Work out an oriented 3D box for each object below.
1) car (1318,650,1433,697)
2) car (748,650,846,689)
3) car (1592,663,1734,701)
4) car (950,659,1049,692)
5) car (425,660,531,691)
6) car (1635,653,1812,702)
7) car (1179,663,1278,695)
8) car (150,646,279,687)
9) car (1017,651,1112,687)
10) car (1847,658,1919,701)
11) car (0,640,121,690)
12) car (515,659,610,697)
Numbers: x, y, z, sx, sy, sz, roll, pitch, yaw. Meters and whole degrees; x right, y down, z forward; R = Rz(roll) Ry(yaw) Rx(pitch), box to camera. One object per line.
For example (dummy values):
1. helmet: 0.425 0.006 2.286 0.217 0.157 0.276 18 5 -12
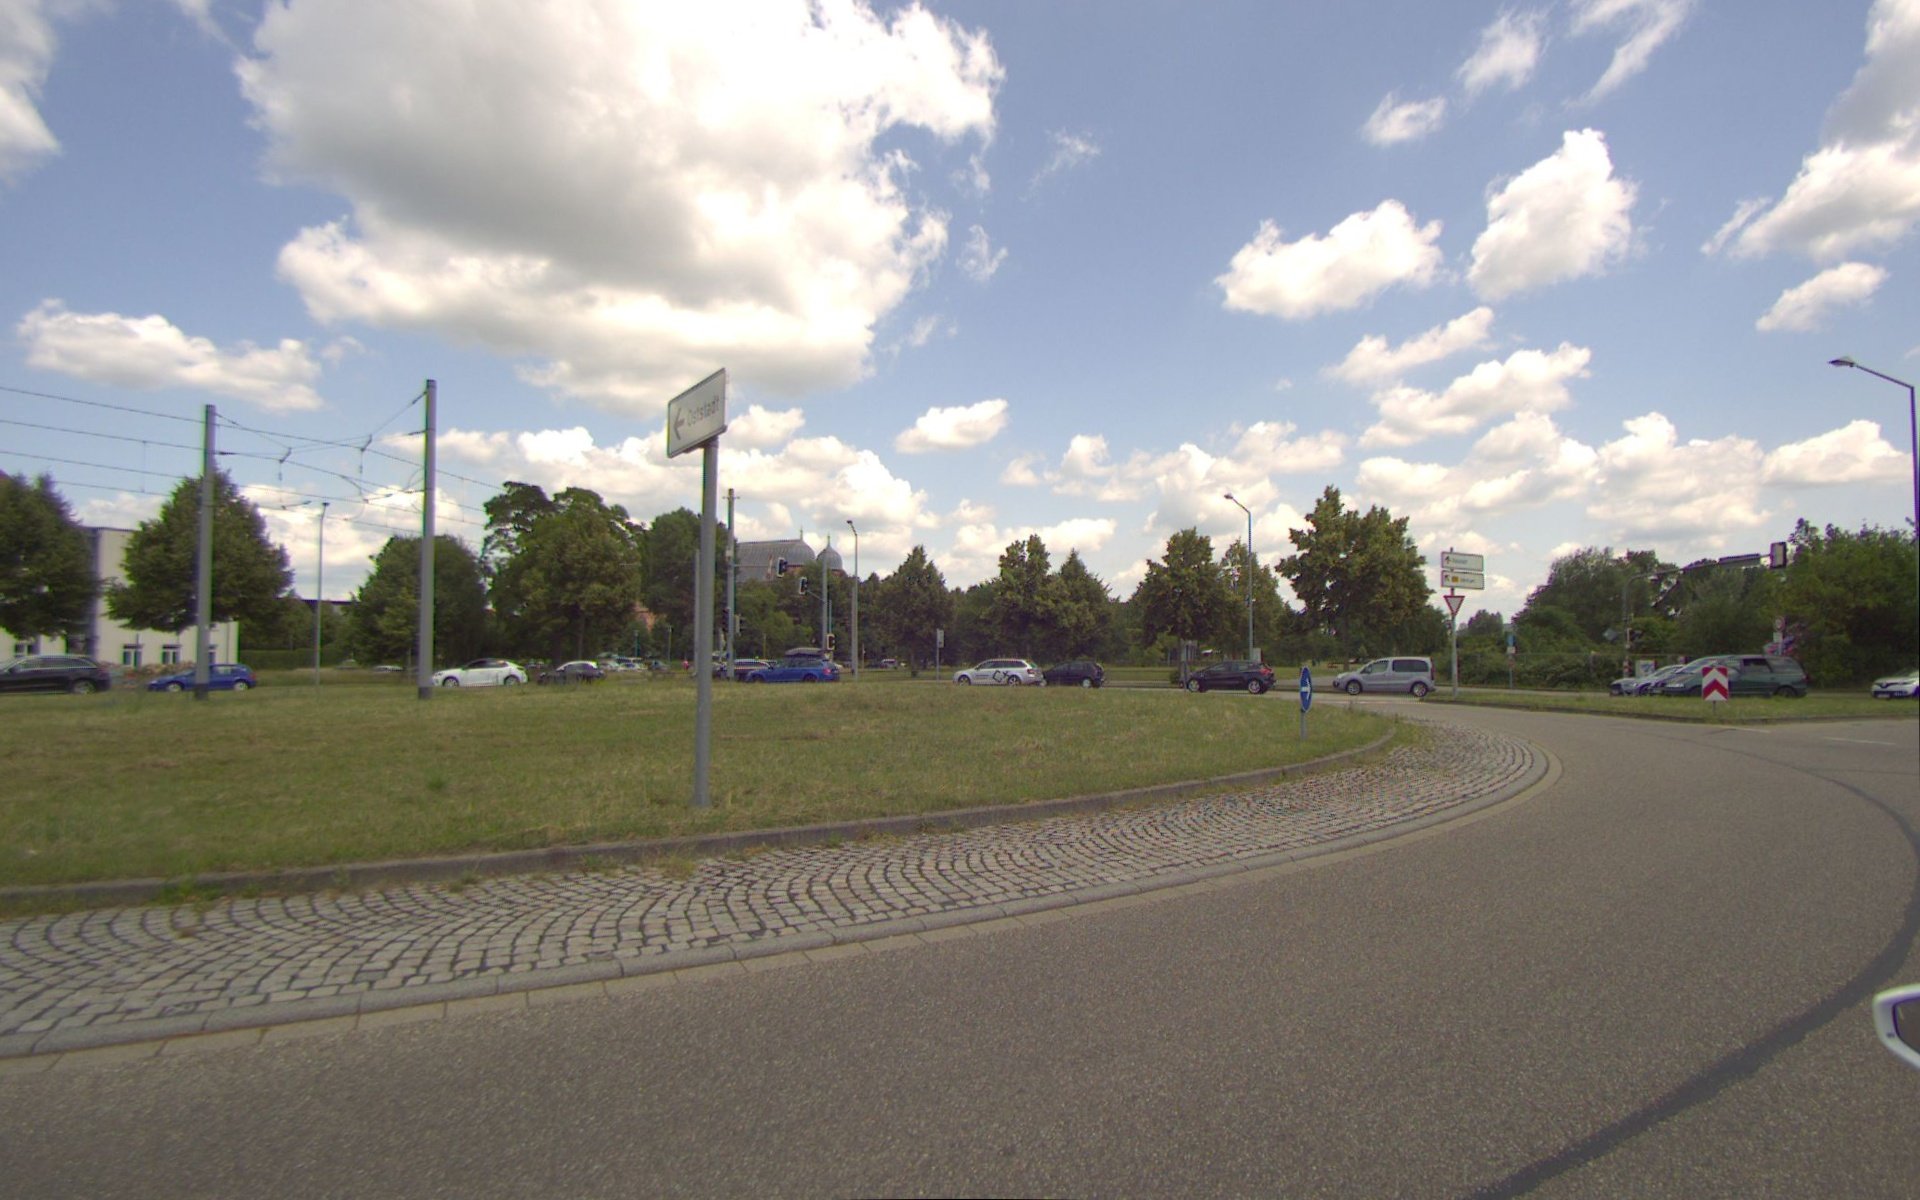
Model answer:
1. car: 18.880 3.301 45.756 4.696 2.040 1.999 -1 -3 24
2. car: -7.836 3.314 48.351 4.318 1.822 1.758 -1 -3 9
3. car: 27.322 3.171 39.126 4.107 1.441 1.913 0 -3 4
4. car: 1.943 3.711 49.505 4.422 1.541 2.123 -2 -3 24
5. car: -22.241 3.469 46.523 4.246 1.347 1.991 1 -3 -21
6. car: 26.317 2.658 34.754 4.499 1.613 1.916 0 -3 4
7. car: 11.911 3.524 44.590 3.908 1.357 1.801 -3 -5 28
8. car: -35.043 3.099 47.302 4.693 1.814 1.826 2 -4 -43
9. car: 5.546 3.618 53.212 4.575 1.844 2.124 -2 -3 26
10. car: 39.703 3.250 41.310 4.694 1.708 2.000 0 -3 -1
11. car: -33.022 2.280 35.341 1.967 1.696 5.055 -2 -3 35
12. car: -22.051 4.315 55.921 4.644 2.040 1.995 0 -3 -13
